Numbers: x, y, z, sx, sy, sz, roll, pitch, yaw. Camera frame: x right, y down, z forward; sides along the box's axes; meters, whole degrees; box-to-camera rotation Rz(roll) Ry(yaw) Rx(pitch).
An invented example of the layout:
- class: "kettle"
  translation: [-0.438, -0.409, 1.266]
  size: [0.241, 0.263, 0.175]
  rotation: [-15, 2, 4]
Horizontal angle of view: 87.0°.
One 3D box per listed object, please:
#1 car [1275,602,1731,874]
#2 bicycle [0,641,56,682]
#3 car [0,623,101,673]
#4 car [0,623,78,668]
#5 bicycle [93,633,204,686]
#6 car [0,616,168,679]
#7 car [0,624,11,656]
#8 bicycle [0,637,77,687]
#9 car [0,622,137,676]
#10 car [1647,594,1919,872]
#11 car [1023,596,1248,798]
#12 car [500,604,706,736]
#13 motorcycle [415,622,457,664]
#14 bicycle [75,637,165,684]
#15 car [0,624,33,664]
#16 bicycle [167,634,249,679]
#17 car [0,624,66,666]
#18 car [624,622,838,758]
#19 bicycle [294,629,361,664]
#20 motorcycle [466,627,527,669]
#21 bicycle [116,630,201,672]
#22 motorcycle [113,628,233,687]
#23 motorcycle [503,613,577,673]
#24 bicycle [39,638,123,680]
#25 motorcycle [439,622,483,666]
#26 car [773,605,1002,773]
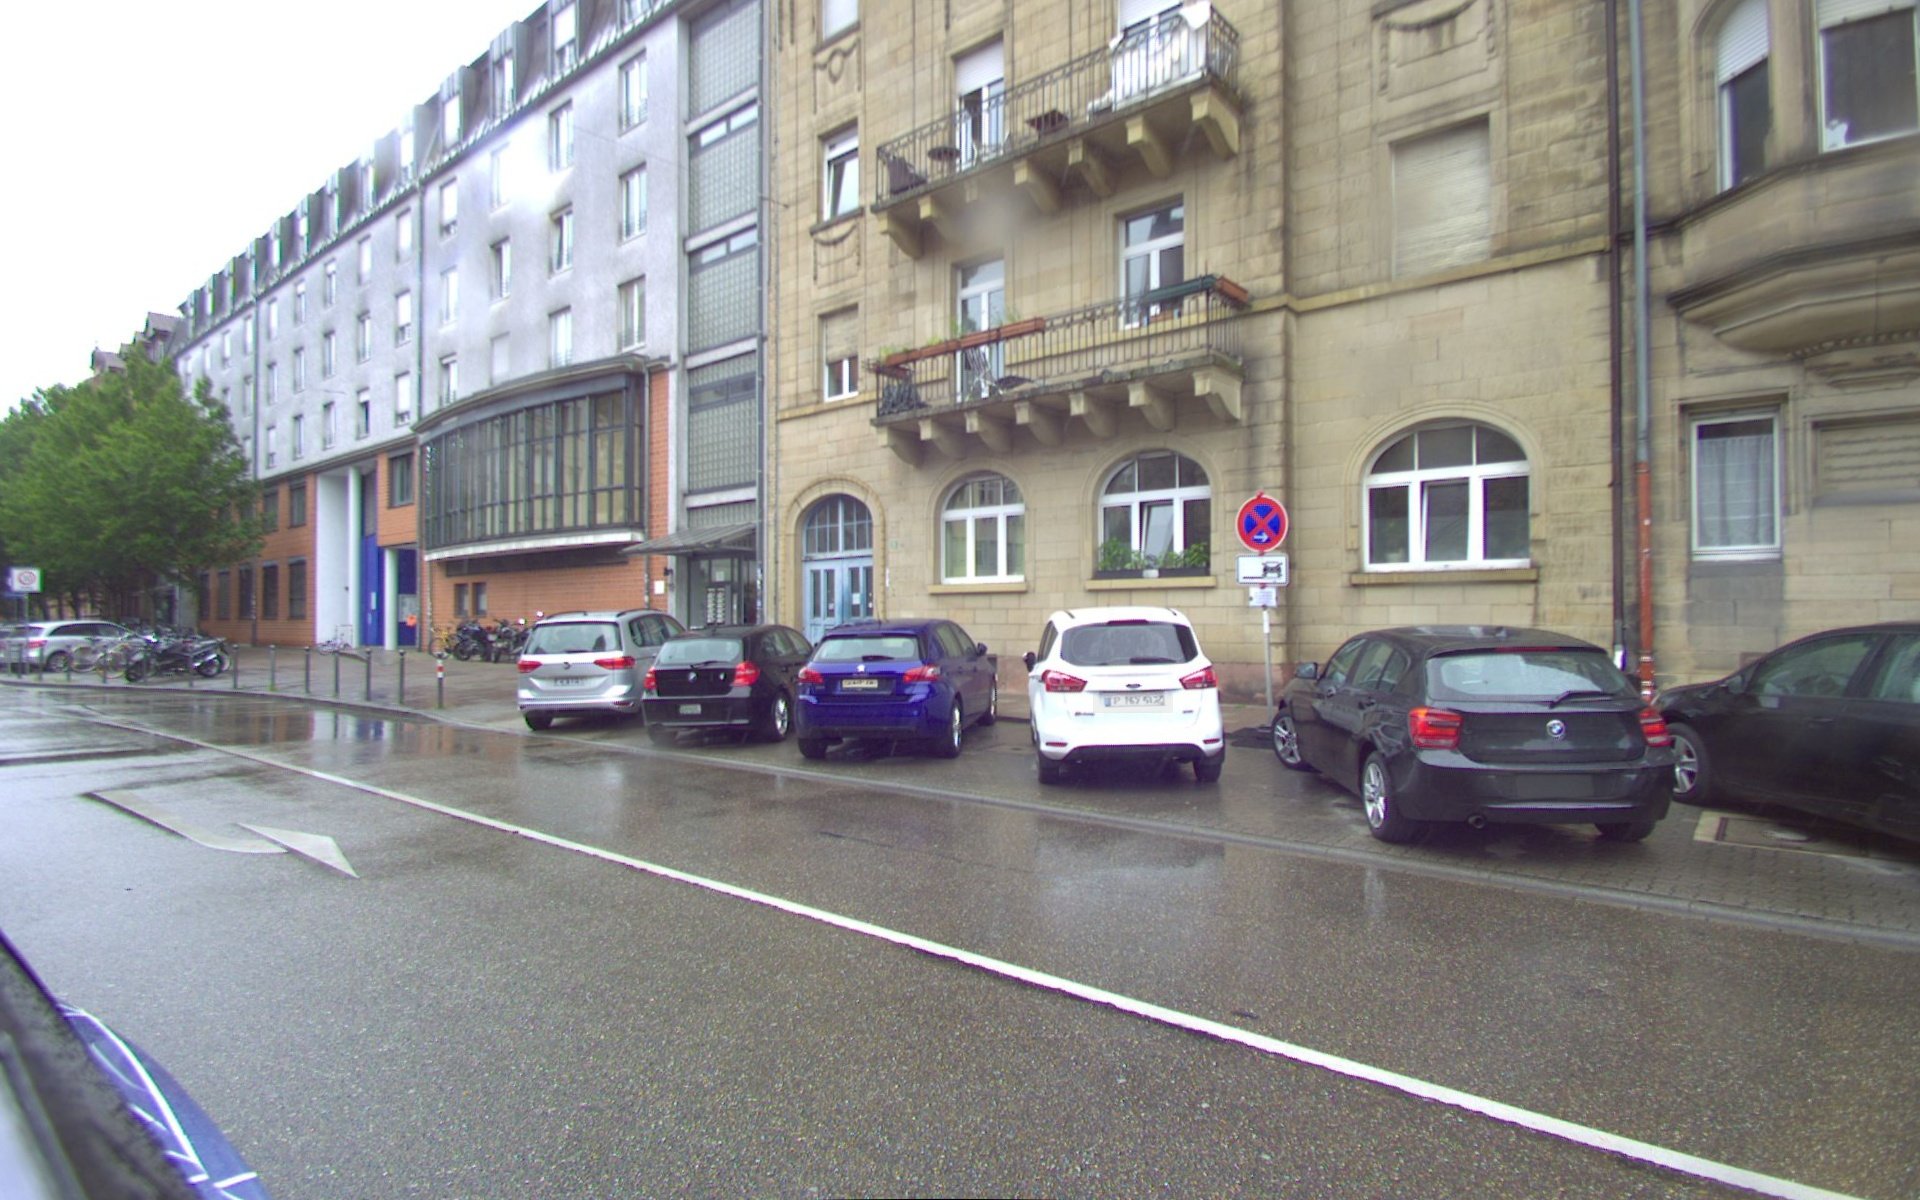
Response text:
- class: "car"
  translation: [3.748, 0.826, 7.808]
  size: [1.757, 1.555, 3.721]
  rotation: [-2, 0, 6]
- class: "bicycle"
  translation: [-25.863, 1.683, 27.609]
  size: [0.544, 1.081, 1.667]
  rotation: [-1, -4, 38]
- class: "car"
  translation: [-33.406, 1.692, 36.098]
  size: [1.993, 1.728, 3.762]
  rotation: [-1, -2, 30]
- class: "car"
  translation: [-37.537, 1.789, 39.861]
  size: [1.993, 1.728, 3.762]
  rotation: [-1, -2, 30]
- class: "bicycle"
  translation: [-20.324, 1.460, 25.383]
  size: [0.772, 1.181, 2.024]
  rotation: [-1, 1, 38]
- class: "car"
  translation: [-27.279, 1.435, 31.291]
  size: [1.981, 1.828, 3.981]
  rotation: [0, -2, 14]
- class: "car"
  translation: [-52.067, 2.071, 52.473]
  size: [1.899, 1.728, 3.762]
  rotation: [-1, -2, 30]
- class: "bicycle"
  translation: [-23.449, 1.546, 25.513]
  size: [0.544, 1.081, 1.668]
  rotation: [-1, 3, 38]
- class: "car"
  translation: [-30.755, 1.624, 34.475]
  size: [1.993, 1.728, 3.762]
  rotation: [-1, -2, 30]
- class: "car"
  translation: [6.282, 0.759, 6.170]
  size: [1.606, 1.555, 3.758]
  rotation: [-2, 0, 1]
- class: "car"
  translation: [1.569, 0.811, 10.277]
  size: [1.755, 1.639, 3.724]
  rotation: [-2, 0, 3]
- class: "car"
  translation: [-5.241, 0.995, 15.426]
  size: [1.791, 1.743, 3.923]
  rotation: [0, -2, -1]
- class: "motorcycle"
  translation: [-15.763, 1.281, 30.439]
  size: [1.676, 1.238, 0.539]
  rotation: [-1, -3, 41]
- class: "bicycle"
  translation: [-21.307, 1.519, 25.706]
  size: [0.544, 1.081, 1.667]
  rotation: [-1, 1, 38]
- class: "car"
  translation: [-43.373, 1.919, 44.266]
  size: [1.993, 1.728, 3.762]
  rotation: [-1, -2, 30]
- class: "bicycle"
  translation: [-20.116, 1.503, 27.099]
  size: [0.544, 1.081, 1.667]
  rotation: [-1, 1, 38]
- class: "car"
  translation: [-40.051, 1.876, 42.177]
  size: [1.993, 1.728, 3.762]
  rotation: [-1, -2, 30]
- class: "car"
  translation: [-2.862, 1.088, 13.464]
  size: [1.697, 1.539, 3.721]
  rotation: [0, -2, 6]
- class: "bicycle"
  translation: [-22.537, 1.646, 36.103]
  size: [1.873, 1.234, 0.939]
  rotation: [1, -2, -23]
- class: "motorcycle"
  translation: [-12.763, 1.309, 27.824]
  size: [2.361, 1.110, 0.591]
  rotation: [-1, -3, 41]
- class: "bicycle"
  translation: [-21.286, 1.334, 26.915]
  size: [0.544, 1.081, 1.667]
  rotation: [-1, -3, 38]
- class: "motorcycle"
  translation: [-19.394, 1.391, 24.985]
  size: [0.758, 1.320, 2.226]
  rotation: [-1, 0, 41]
- class: "motorcycle"
  translation: [-10.827, 1.100, 26.054]
  size: [2.361, 1.474, 0.767]
  rotation: [-1, -3, 41]
- class: "bicycle"
  translation: [-24.298, 1.611, 27.992]
  size: [0.544, 1.081, 1.667]
  rotation: [-1, -2, 38]
- class: "motorcycle"
  translation: [-14.442, 1.263, 29.267]
  size: [1.676, 1.238, 0.539]
  rotation: [-1, -3, 41]
- class: "car"
  translation: [-0.671, 0.890, 11.983]
  size: [1.881, 1.539, 3.716]
  rotation: [0, 1, 10]
